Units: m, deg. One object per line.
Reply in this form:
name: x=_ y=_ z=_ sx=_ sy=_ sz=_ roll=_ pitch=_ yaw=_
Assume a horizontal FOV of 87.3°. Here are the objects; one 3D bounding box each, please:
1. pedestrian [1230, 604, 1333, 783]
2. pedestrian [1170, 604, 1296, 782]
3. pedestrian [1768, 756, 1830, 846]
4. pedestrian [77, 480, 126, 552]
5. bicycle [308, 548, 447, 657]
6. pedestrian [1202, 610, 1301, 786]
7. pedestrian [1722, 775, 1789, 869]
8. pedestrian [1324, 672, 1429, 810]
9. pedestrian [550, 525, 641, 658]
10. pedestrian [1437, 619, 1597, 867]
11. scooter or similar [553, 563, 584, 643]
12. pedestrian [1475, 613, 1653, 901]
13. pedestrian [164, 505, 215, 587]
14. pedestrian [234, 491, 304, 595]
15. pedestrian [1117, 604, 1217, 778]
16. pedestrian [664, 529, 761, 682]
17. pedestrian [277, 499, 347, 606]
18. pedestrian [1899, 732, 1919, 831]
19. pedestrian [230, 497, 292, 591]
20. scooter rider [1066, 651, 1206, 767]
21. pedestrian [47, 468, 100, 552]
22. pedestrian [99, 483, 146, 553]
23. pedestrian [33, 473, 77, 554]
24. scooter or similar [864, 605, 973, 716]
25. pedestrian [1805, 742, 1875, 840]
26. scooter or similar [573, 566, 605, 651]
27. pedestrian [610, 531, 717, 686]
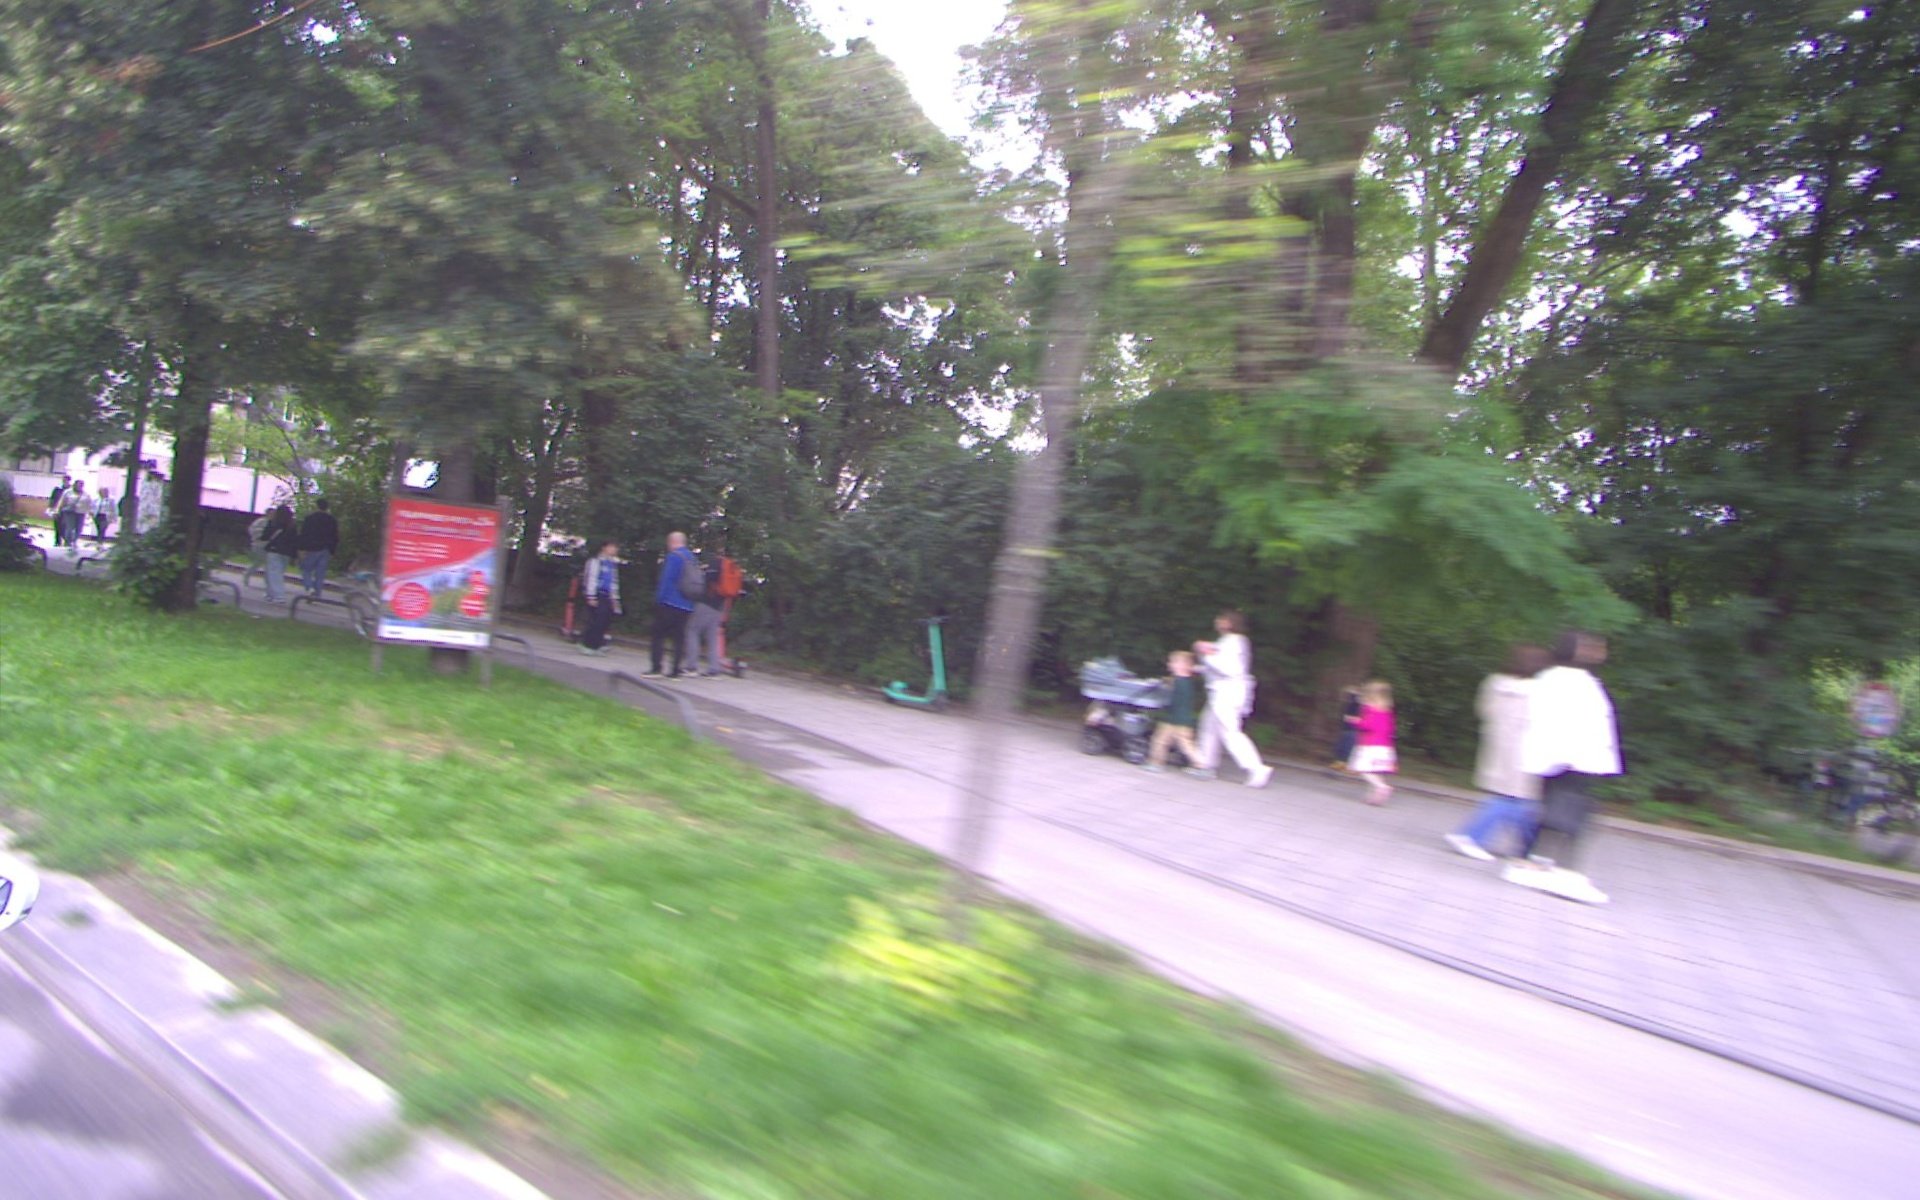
pedestrian: x=3.210 y=0.932 z=10.032 sx=0.629 sy=1.686 sz=0.565 roll=8 pitch=-1 yaw=-43
pedestrian: x=2.682 y=0.904 z=9.879 sx=0.858 sy=1.584 sz=0.682 roll=7 pitch=-1 yaw=32
pedestrian: x=17.673 y=4.222 z=21.210 sx=0.600 sy=1.715 sz=0.694 roll=7 pitch=-1 yaw=13
pedestrian: x=-23.049 y=-2.250 z=27.012 sx=0.710 sy=1.833 sz=0.596 roll=6 pitch=2 yaw=7
bicycle: x=-6.810 y=0.010 z=11.715 sx=2.044 sy=1.033 sz=0.385 roll=7 pitch=-1 yaw=32
pedestrian: x=2.778 y=0.929 z=9.599 sx=0.483 sy=1.584 sz=0.565 roll=8 pitch=-1 yaw=-43
pedestrian: x=16.228 y=4.515 z=20.533 sx=0.600 sy=1.715 sz=0.693 roll=7 pitch=-1 yaw=-4
pedestrian: x=3.825 y=1.291 z=9.241 sx=0.629 sy=1.150 sz=0.565 roll=8 pitch=-1 yaw=-43
pedestrian: x=-5.185 y=-0.128 z=14.304 sx=0.752 sy=1.757 sz=0.839 roll=8 pitch=-1 yaw=-43
pedestrian: x=4.120 y=1.034 z=7.442 sx=0.752 sy=1.663 sz=0.682 roll=8 pitch=-1 yaw=-43
scooter or similar: x=-6.343 y=0.039 z=16.322 sx=0.301 sy=1.239 sz=0.923 roll=7 pitch=0 yaw=-19
pedestrian: x=3.864 y=0.972 z=6.434 sx=0.752 sy=1.663 sz=0.642 roll=8 pitch=-1 yaw=-43
pedestrian: x=-16.929 y=-1.184 z=22.117 sx=0.544 sy=1.695 sz=0.580 roll=7 pitch=-1 yaw=35
pedestrian: x=-12.042 y=-0.995 z=17.523 sx=0.742 sy=1.701 sz=0.608 roll=7 pitch=-1 yaw=35
pedestrian: x=1.970 y=0.858 z=9.542 sx=0.552 sy=1.532 sz=0.682 roll=7 pitch=-1 yaw=32
pedestrian: x=-3.201 y=0.072 z=13.008 sx=0.836 sy=1.843 sz=0.589 roll=7 pitch=-1 yaw=32
pedestrian: x=-11.557 y=-0.843 z=17.950 sx=0.784 sy=1.784 sz=0.608 roll=7 pitch=-1 yaw=35
pedestrian: x=17.147 y=3.223 z=17.621 sx=0.600 sy=1.715 sz=0.694 roll=7 pitch=-1 yaw=13
pedestrian: x=-14.278 y=-1.132 z=20.541 sx=0.769 sy=1.794 sz=0.631 roll=7 pitch=-1 yaw=35
scooter rider: x=1.841 y=1.125 z=10.500 sx=1.096 sy=0.996 sz=0.857 roll=7 pitch=-1 yaw=32
pedestrian: x=-22.720 y=-2.304 z=25.777 sx=0.764 sy=2.041 sz=0.763 roll=7 pitch=3 yaw=32
pedestrian: x=-23.394 y=-2.274 z=28.117 sx=0.710 sy=1.833 sz=0.596 roll=6 pitch=2 yaw=7
pedestrian: x=-23.958 y=-2.286 z=26.631 sx=0.712 sy=2.040 sz=0.594 roll=7 pitch=2 yaw=32
scooter or similar: x=-0.531 y=0.749 z=12.587 sx=1.199 sy=1.212 sz=0.419 roll=7 pitch=-1 yaw=32
pedestrian: x=16.929 y=3.659 z=19.364 sx=0.600 sy=1.715 sz=0.694 roll=7 pitch=-1 yaw=13
scooter or similar: x=-5.705 y=0.123 z=15.494 sx=0.301 sy=1.239 sz=0.923 roll=7 pitch=0 yaw=-19
pedestrian: x=-3.621 y=0.095 z=12.268 sx=0.752 sy=1.757 sz=0.839 roll=8 pitch=-1 yaw=-43
